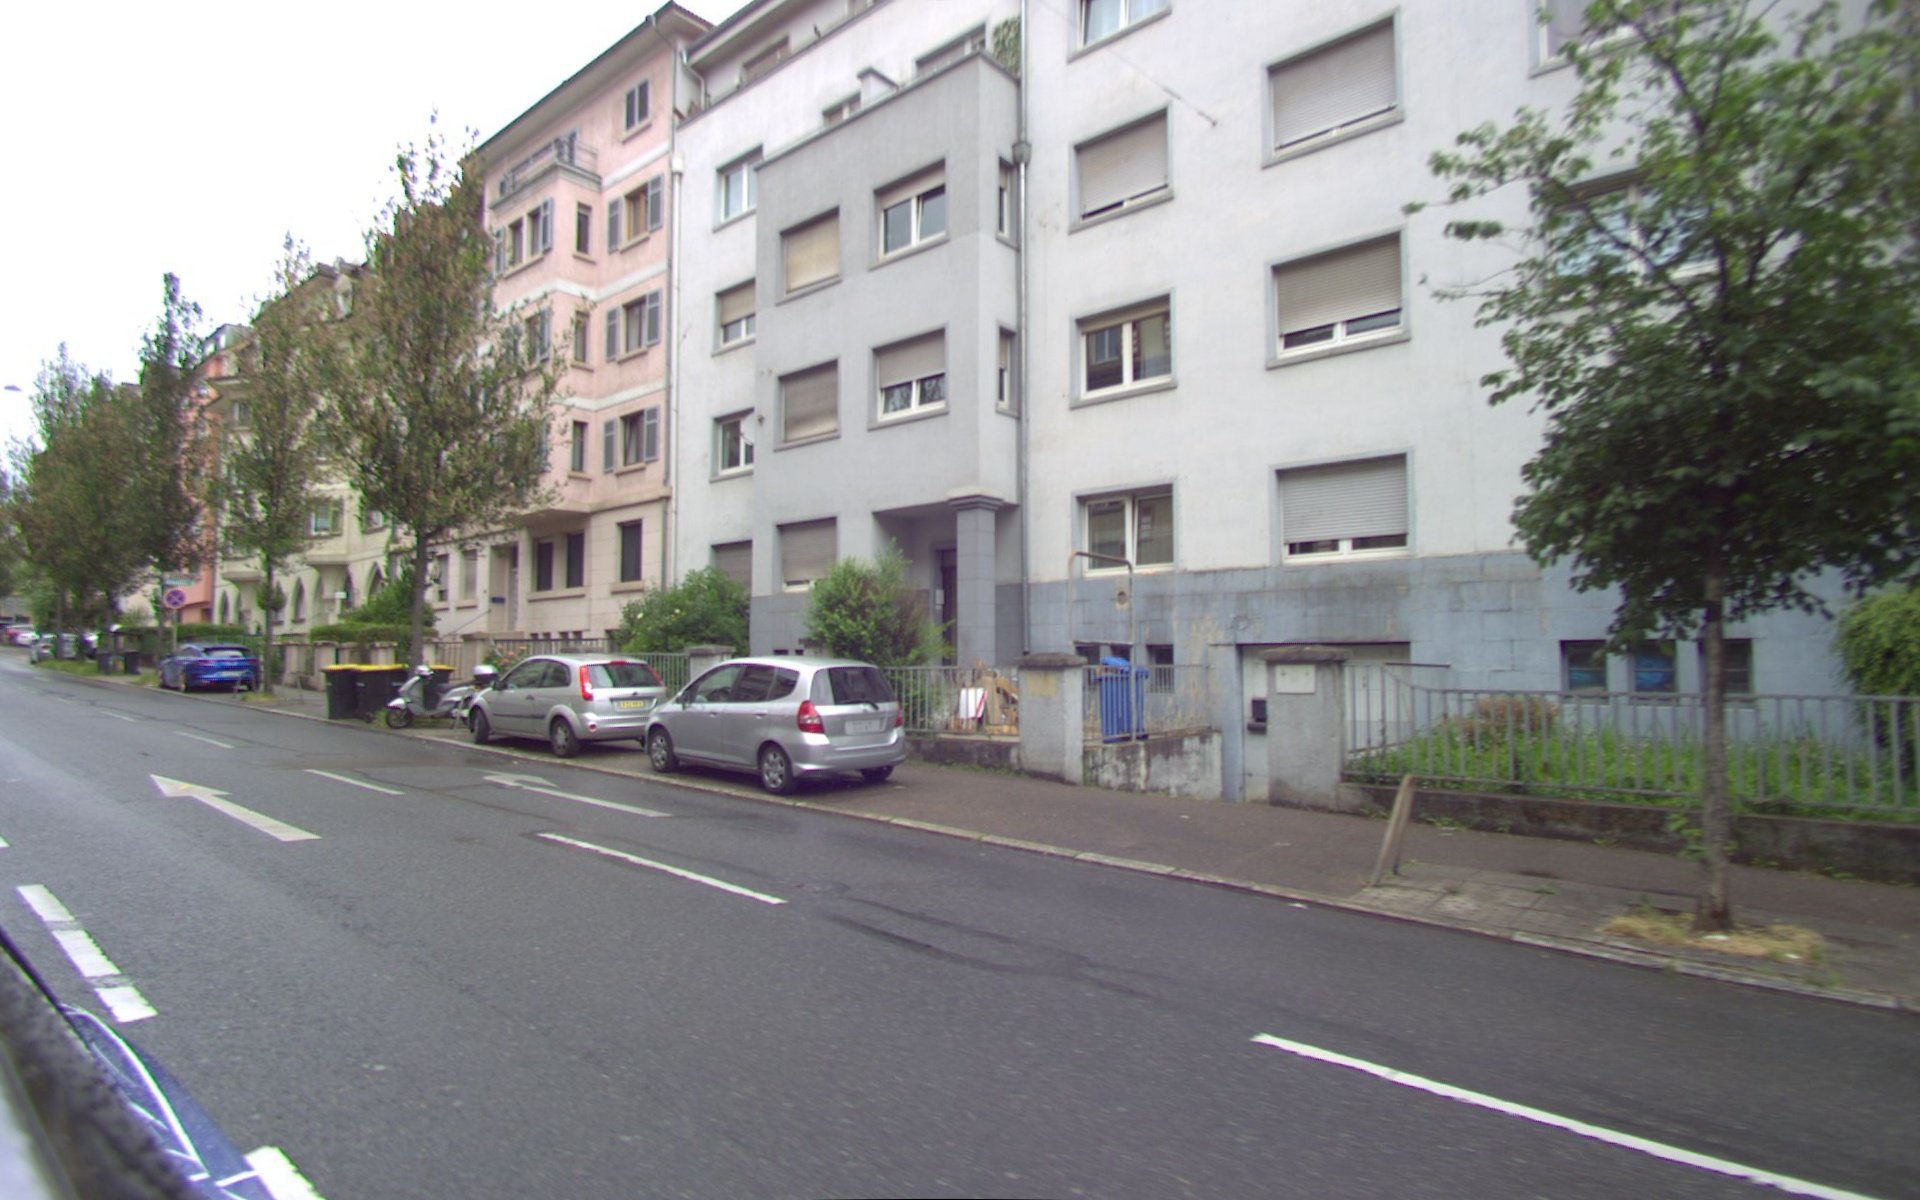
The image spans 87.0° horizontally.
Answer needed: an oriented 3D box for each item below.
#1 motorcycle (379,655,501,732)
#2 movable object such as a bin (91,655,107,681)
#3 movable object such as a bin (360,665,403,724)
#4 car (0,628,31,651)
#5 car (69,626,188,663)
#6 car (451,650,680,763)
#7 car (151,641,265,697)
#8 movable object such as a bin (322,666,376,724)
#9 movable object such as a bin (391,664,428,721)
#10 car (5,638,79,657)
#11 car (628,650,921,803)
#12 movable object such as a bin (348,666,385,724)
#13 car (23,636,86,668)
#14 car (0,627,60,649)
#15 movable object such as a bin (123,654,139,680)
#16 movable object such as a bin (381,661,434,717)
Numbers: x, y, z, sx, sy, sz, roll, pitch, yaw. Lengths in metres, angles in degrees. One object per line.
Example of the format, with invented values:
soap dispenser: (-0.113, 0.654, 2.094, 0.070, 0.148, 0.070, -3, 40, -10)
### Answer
motorcycle: (-9.400, 1.685, 18.360, 1.782, 1.325, 0.743, 1, -3, -8)
movable object such as a bin: (-31.780, 2.505, 37.356, 0.572, 0.896, 0.360, -1, -2, 40)
movable object such as a bin: (-11.129, 1.806, 19.473, 0.480, 1.066, 0.522, 0, 0, 19)
car: (-79.182, 3.227, 83.108, 1.865, 1.861, 3.881, 0, -4, 38)
car: (-45.170, 2.398, 55.069, 1.917, 1.919, 4.673, 0, -2, 39)
car: (-6.136, 1.535, 15.563, 3.884, 1.407, 1.584, 0, -2, 40)
car: (-21.874, 1.947, 29.378, 4.600, 1.396, 1.661, 0, -3, 41)
movable object such as a bin: (-12.233, 1.889, 20.273, 0.483, 1.066, 0.816, 0, 0, 42)
movable object such as a bin: (-10.909, 1.816, 20.045, 0.482, 1.066, 0.467, 0, 0, 32)
car: (-68.433, 3.544, 75.512, 1.646, 1.307, 3.878, -1, -4, 41)
car: (-2.400, 1.415, 12.471, 3.889, 1.462, 1.582, 0, -3, 45)
movable object such as a bin: (-11.704, 1.866, 19.955, 0.482, 1.066, 0.467, 0, 0, 32)
car: (-43.427, 2.480, 48.516, 4.135, 1.428, 1.663, -1, -4, 41)
car: (-76.445, 3.116, 82.878, 1.592, 1.634, 3.878, -1, -4, 41)
movable object such as a bin: (-31.224, 2.524, 38.111, 0.572, 0.918, 0.360, 0, -1, 40)
movable object such as a bin: (-11.251, 1.807, 20.611, 0.483, 1.066, 0.816, 0, -1, 42)
